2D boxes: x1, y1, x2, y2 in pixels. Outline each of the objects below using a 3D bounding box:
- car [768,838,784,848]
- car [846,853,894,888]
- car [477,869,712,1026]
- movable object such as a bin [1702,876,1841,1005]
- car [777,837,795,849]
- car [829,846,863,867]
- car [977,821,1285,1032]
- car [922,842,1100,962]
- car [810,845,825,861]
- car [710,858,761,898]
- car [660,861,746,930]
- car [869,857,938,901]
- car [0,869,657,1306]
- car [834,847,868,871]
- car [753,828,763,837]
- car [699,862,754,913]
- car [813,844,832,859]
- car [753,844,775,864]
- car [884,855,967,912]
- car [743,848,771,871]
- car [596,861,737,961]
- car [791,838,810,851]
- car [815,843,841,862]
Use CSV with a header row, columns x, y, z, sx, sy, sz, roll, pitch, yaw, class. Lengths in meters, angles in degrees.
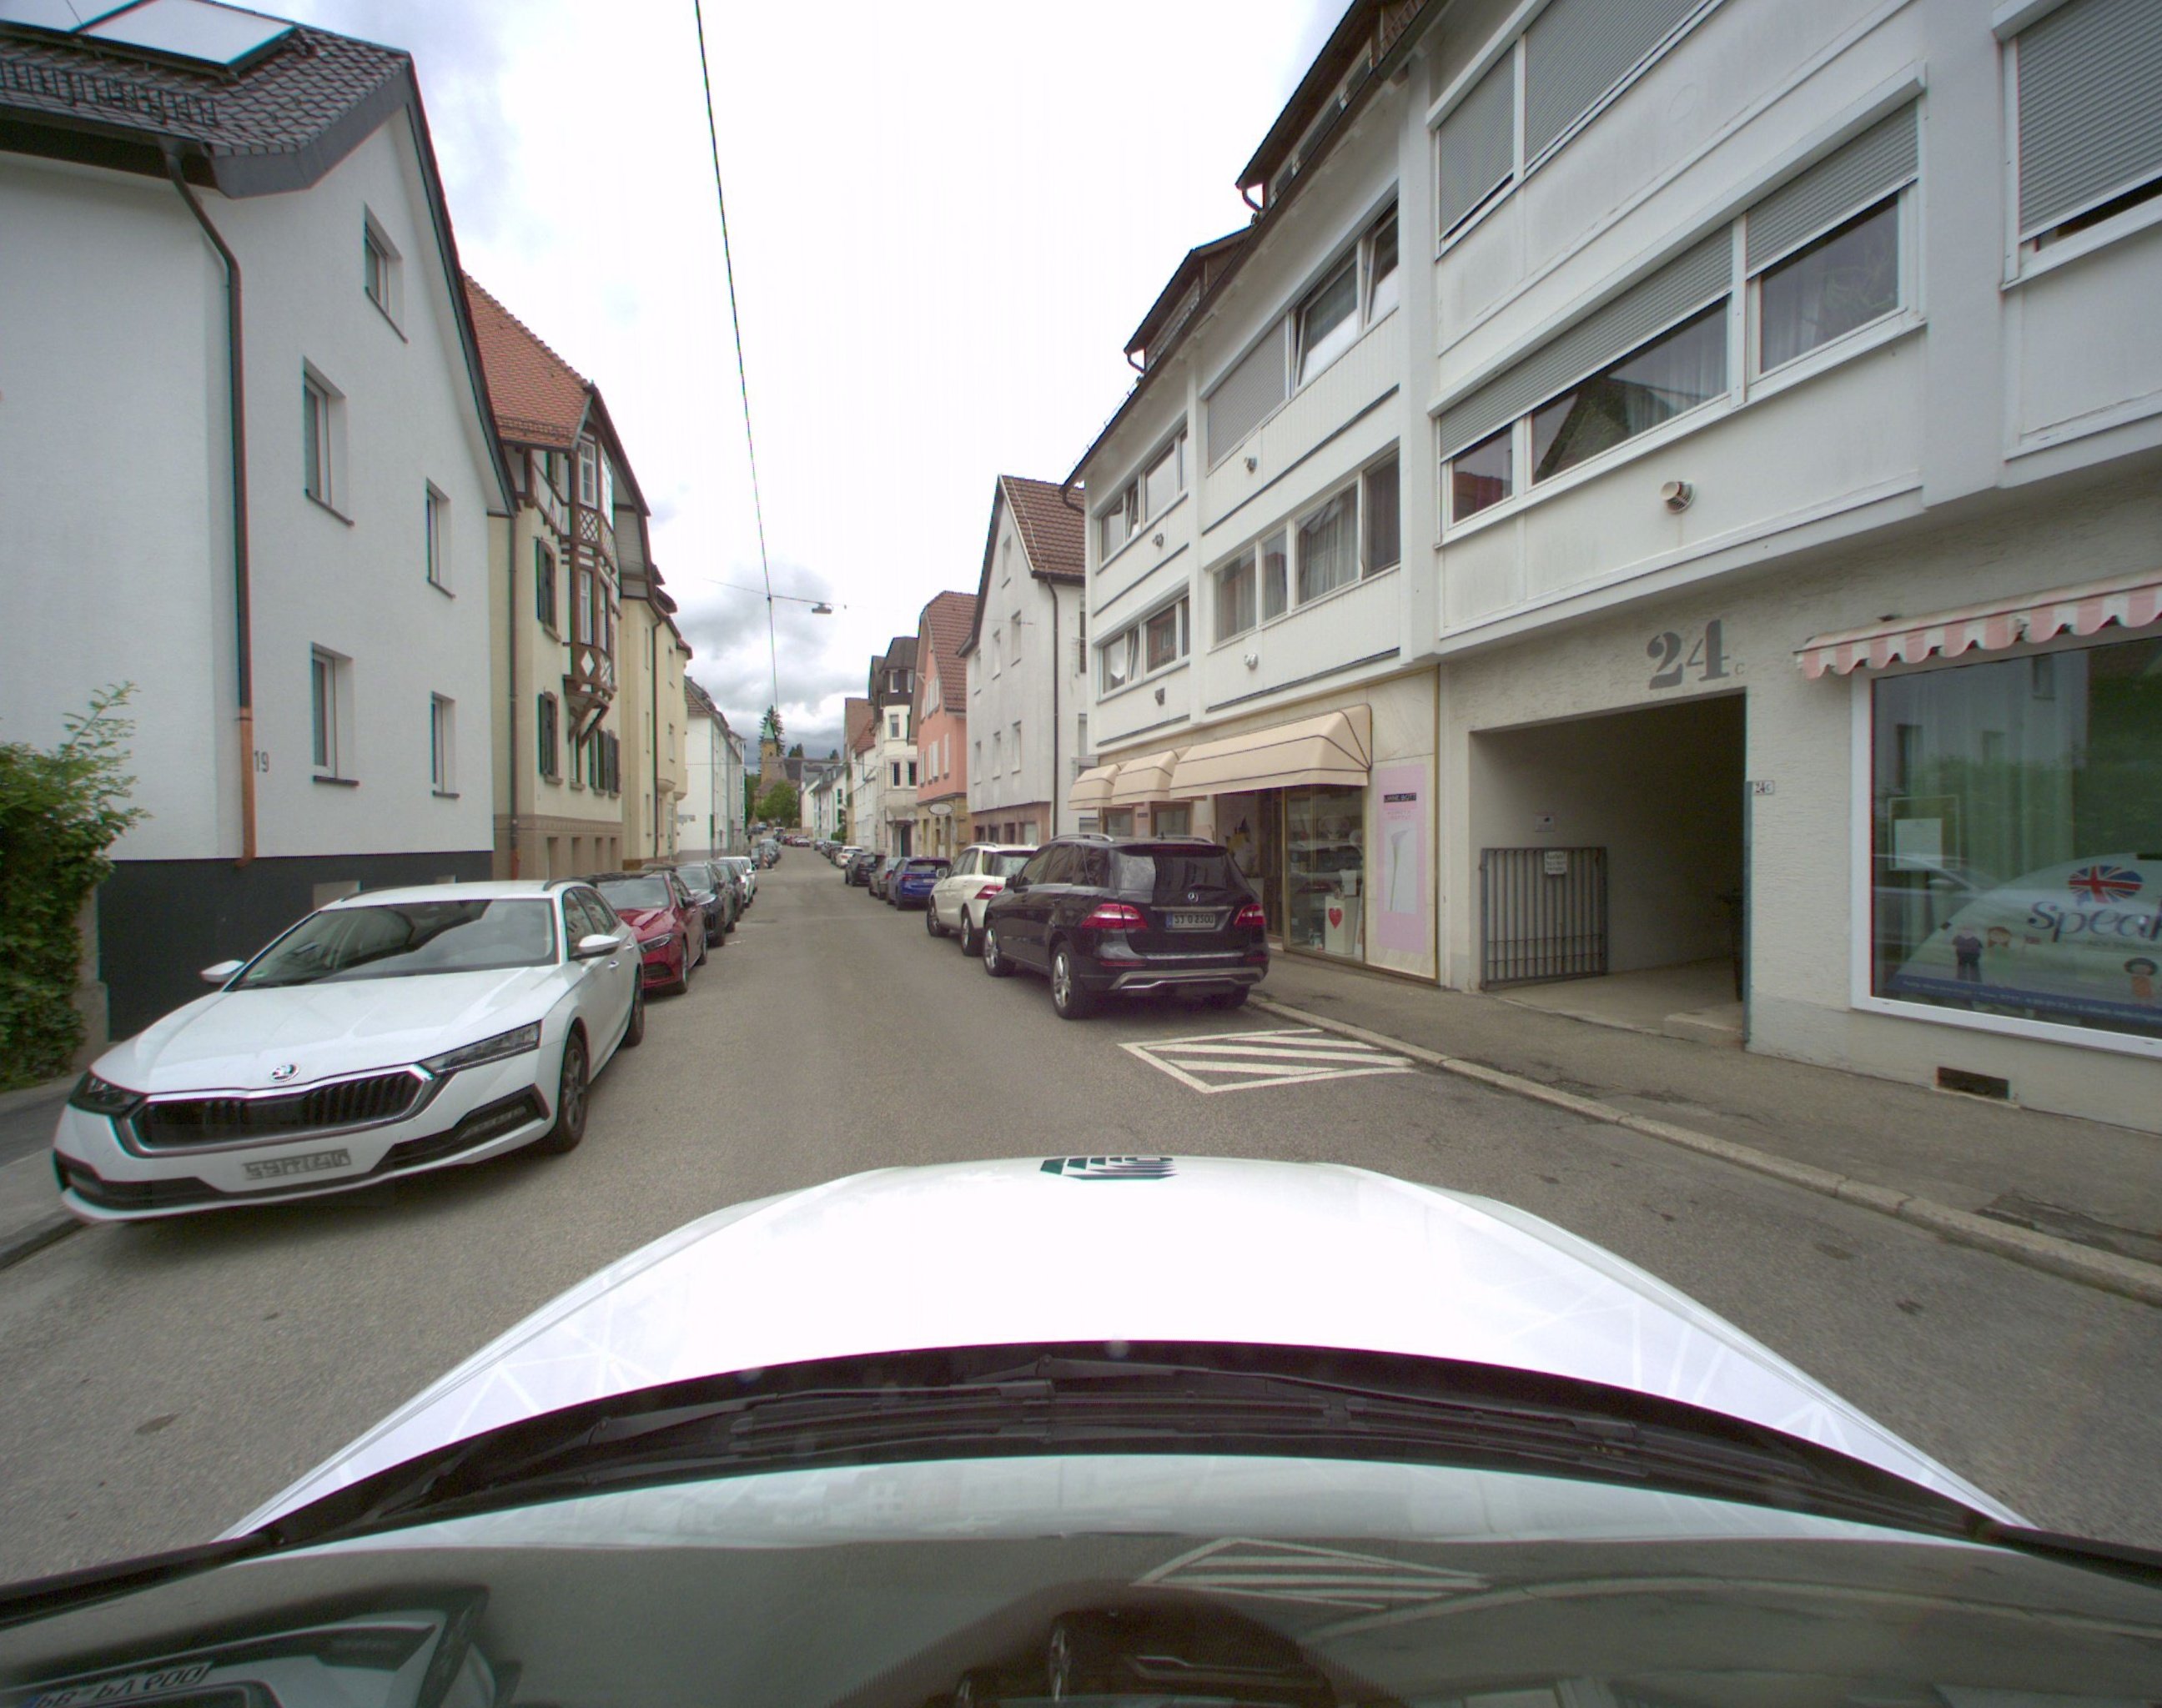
x,y,z,sx,sy,sz,roll,pitch,yaw,class
-50.771,-1.787,135.436,1.900,1.604,3.680,2,0,-29,car
-9.950,0.744,38.210,1.719,1.549,3.775,1,0,-21,car
-5.872,0.975,10.380,1.775,1.417,4.142,-3,1,-20,car
6.240,0.751,7.383,0.666,1.041,0.701,-3,1,-16,movable object such as a bin
-43.591,-1.695,120.317,1.900,1.645,3.937,2,1,-29,car
-17.926,0.196,62.115,1.964,1.574,3.968,0,0,-24,car
0.253,0.650,9.277,1.947,1.780,4.339,1,-1,-20,car
-1.393,0.664,14.043,1.941,1.712,4.346,0,0,-21,car
-30.262,-0.092,93.552,1.584,1.759,3.189,0,-2,-20,car
-13.488,0.895,31.940,1.592,1.422,3.378,-2,0,-20,car
-9.264,0.942,20.196,1.613,1.424,3.826,-2,1,-21,car
-6.200,0.803,28.192,1.755,1.391,4.003,0,0,-21,car
-4.020,0.895,5.259,1.800,1.461,4.264,-3,1,-22,car
-16.221,0.335,57.283,1.774,1.525,3.872,0,2,-24,car
-71.867,-4.831,181.294,1.830,1.923,3.719,1,1,-26,car
-10.756,0.963,24.878,1.287,1.359,3.779,-2,1,-20,car
-24.198,-0.236,76.182,1.414,1.306,2.879,0,2,-24,car
-24.885,-0.011,63.992,1.545,1.515,3.355,1,0,-21,car
-4.554,0.776,23.400,1.780,1.475,3.757,-1,0,-20,car
-22.241,0.373,55.979,1.680,1.464,3.973,1,0,-20,car
-7.612,0.935,15.326,1.774,1.495,3.955,-4,1,-20,car
-38.161,-1.276,110.699,1.770,1.666,3.963,2,1,-29,car
-22.154,-0.178,71.209,1.735,1.574,3.804,0,1,-24,car
